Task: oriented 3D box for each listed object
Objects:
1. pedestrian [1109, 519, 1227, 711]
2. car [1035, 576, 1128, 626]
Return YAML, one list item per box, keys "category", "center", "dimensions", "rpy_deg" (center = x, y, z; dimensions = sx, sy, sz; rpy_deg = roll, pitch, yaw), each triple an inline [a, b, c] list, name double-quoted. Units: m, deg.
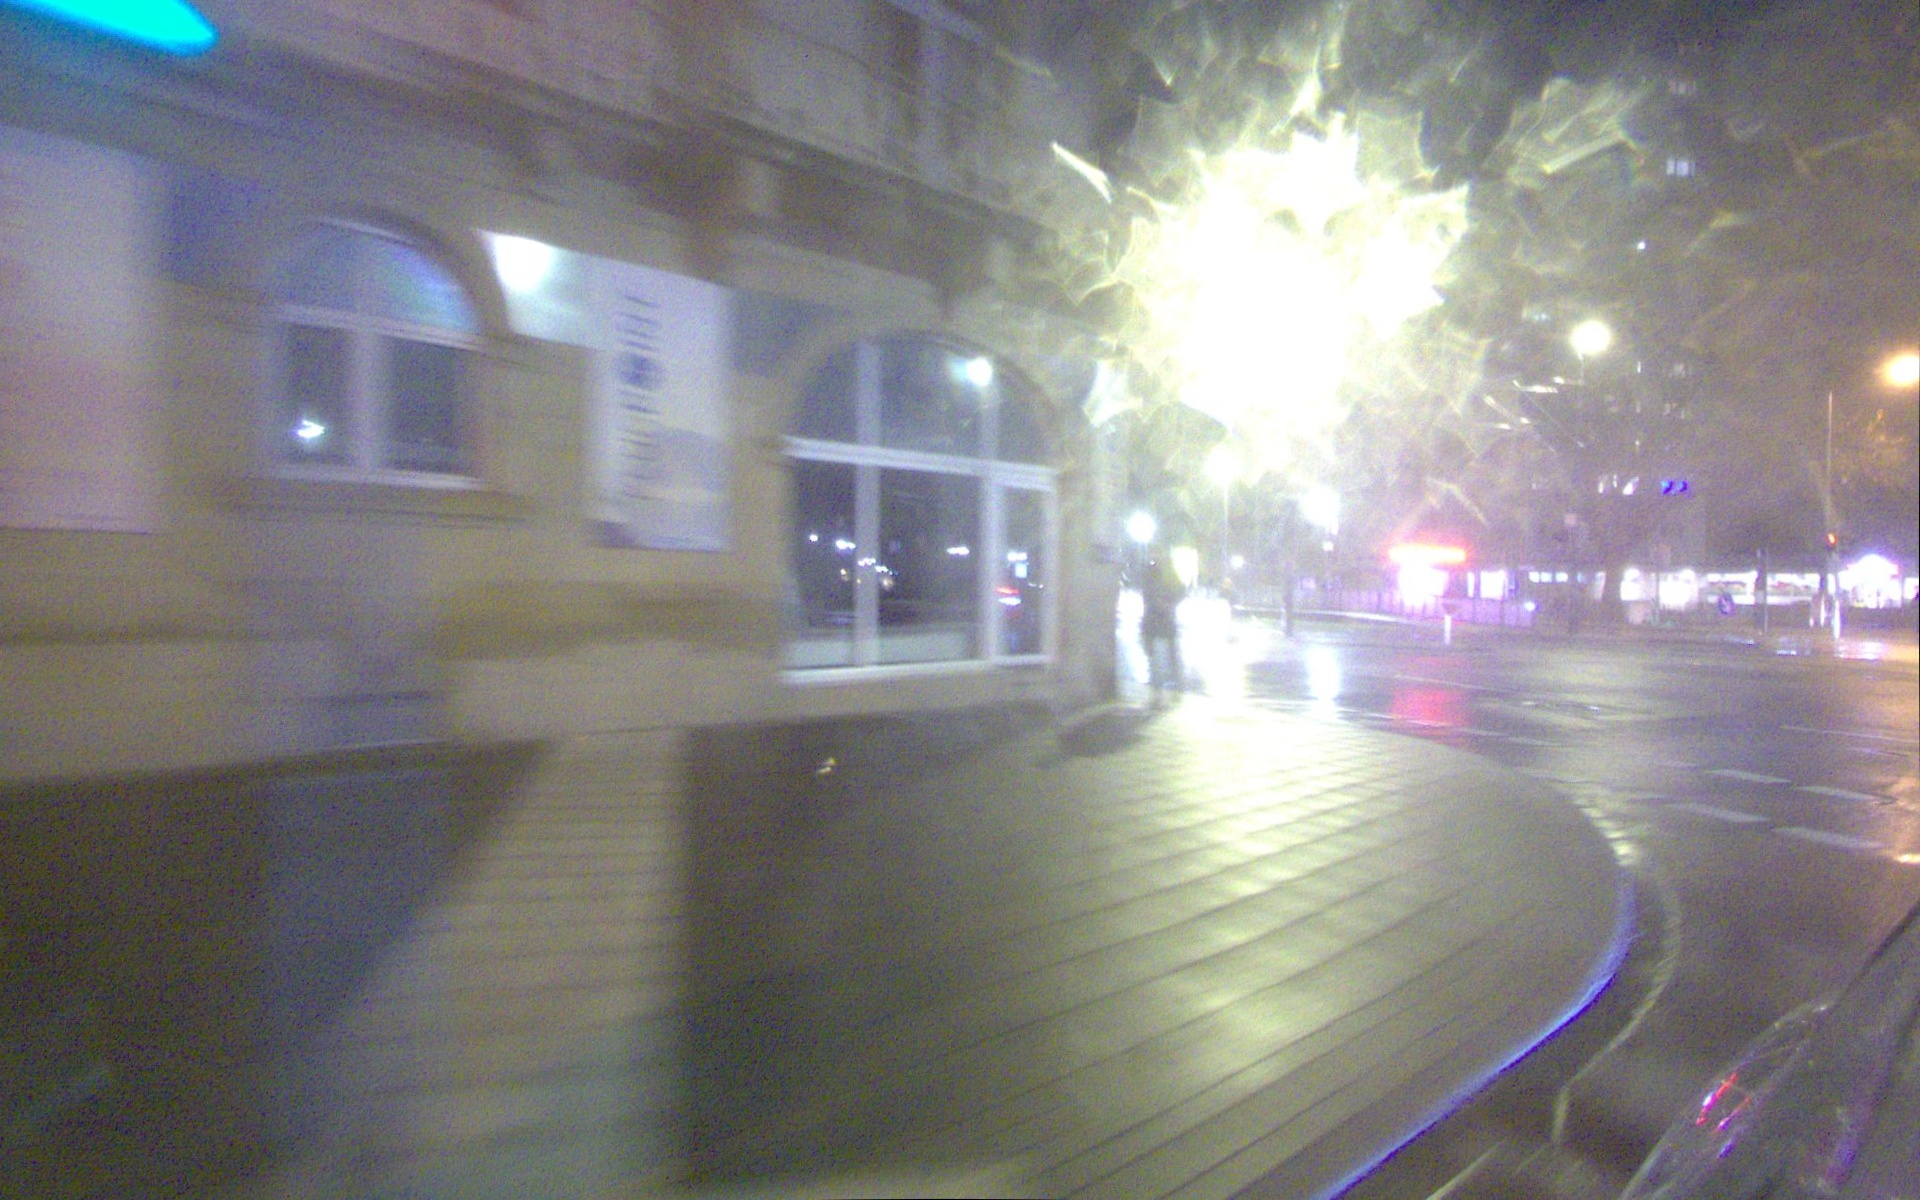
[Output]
- category: "pedestrian"
  center: [2.358, 0.153, 11.454]
  dimensions: [1.009, 2.039, 0.964]
  rpy_deg: [0, 0, 35]
- category: "car"
  center: [4.043, -0.007, 34.320]
  dimensions: [1.706, 1.599, 3.806]
  rpy_deg: [0, 1, -18]
